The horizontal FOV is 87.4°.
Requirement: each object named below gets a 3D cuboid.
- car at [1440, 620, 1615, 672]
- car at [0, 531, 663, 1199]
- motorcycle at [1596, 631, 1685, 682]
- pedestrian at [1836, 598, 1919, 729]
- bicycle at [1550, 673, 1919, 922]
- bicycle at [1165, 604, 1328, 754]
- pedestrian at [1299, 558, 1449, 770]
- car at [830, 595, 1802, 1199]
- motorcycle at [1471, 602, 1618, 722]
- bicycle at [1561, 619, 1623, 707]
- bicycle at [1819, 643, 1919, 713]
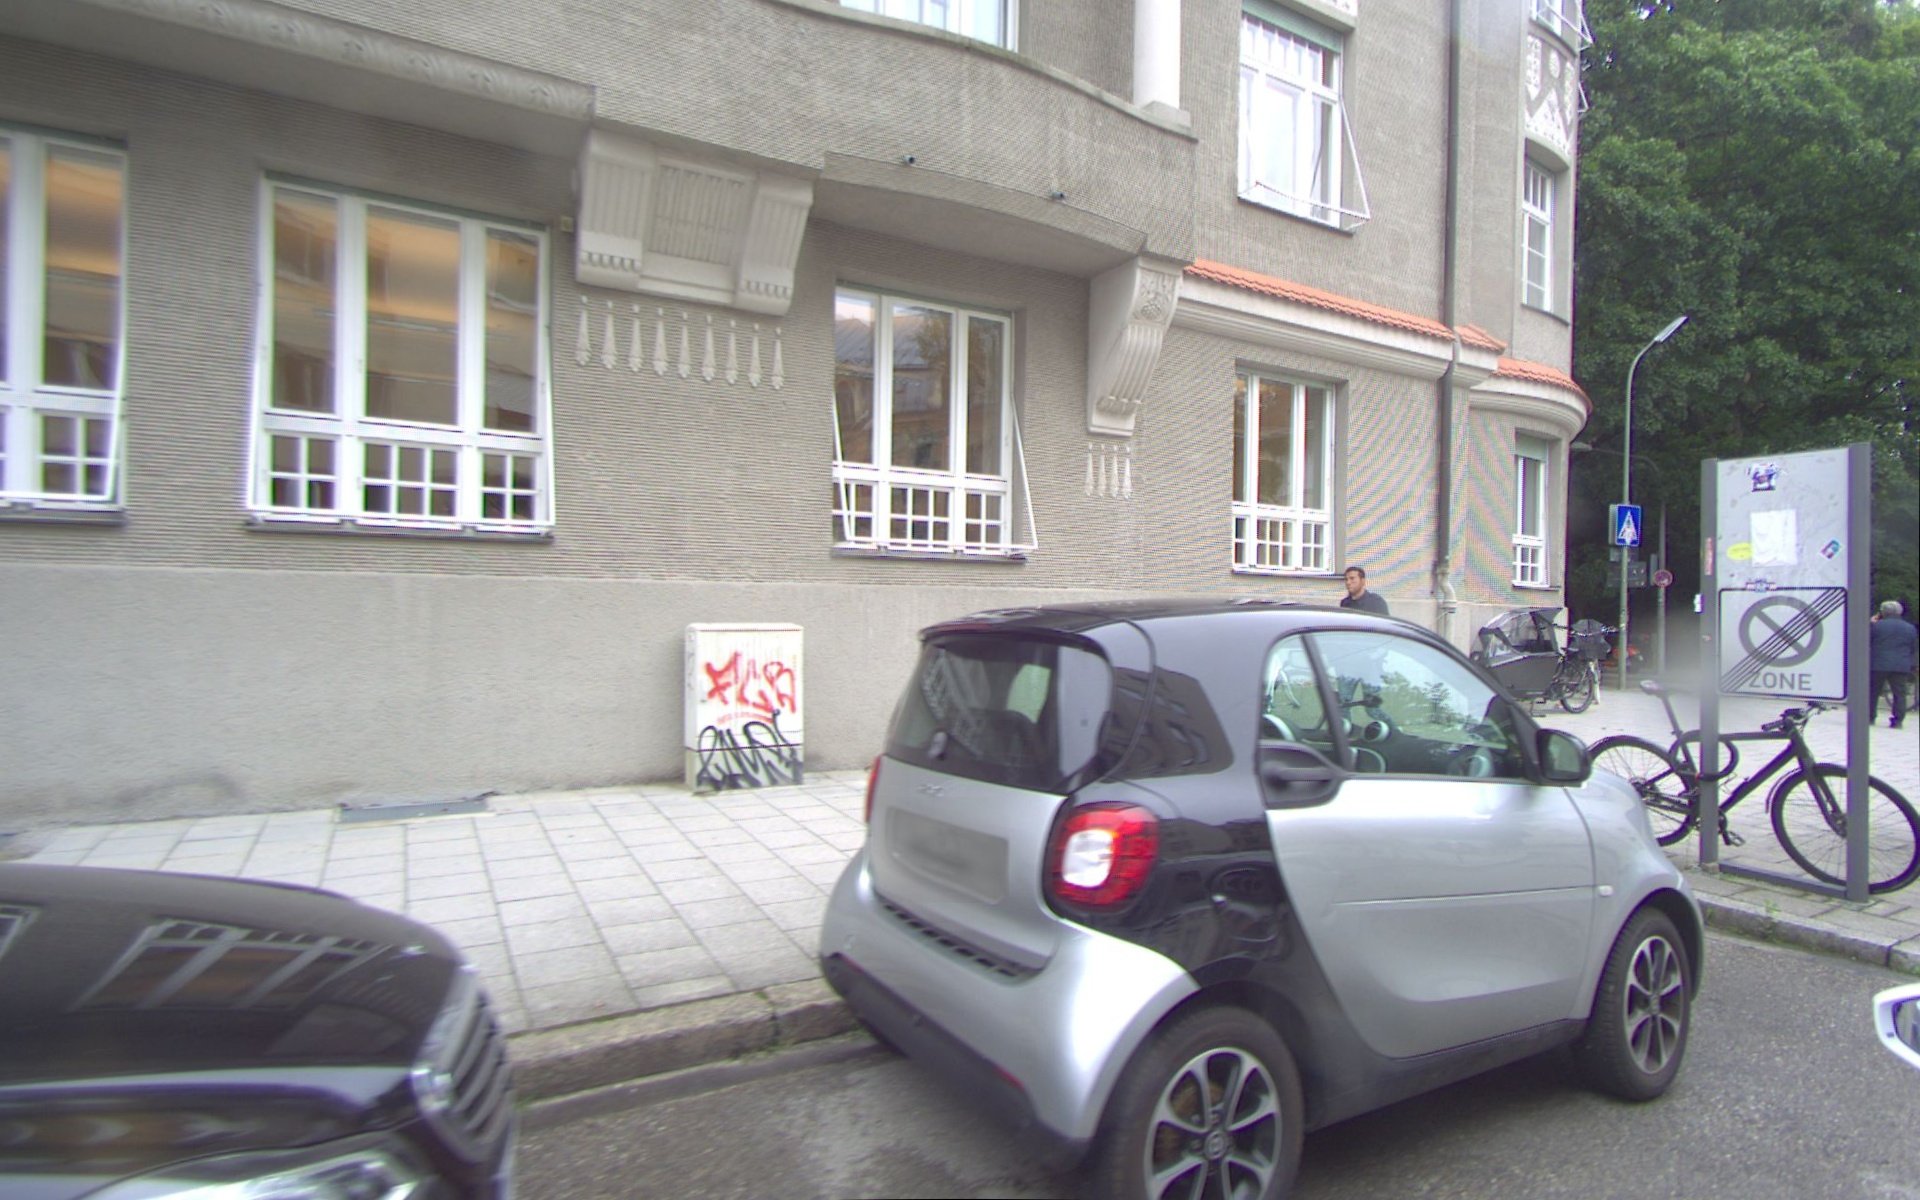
[{"bbox_3d":[17.106,1.337,30.464,1.608,1.468,4.394,1,-2,-34],"label":"car"},{"bbox_3d":[-2.832,0.672,0.953,4.648,1.535,1.748,1,0,-28],"label":"car"},{"bbox_3d":[18.036,1.472,26.683,0.843,1.199,2.004,-2,0,-5],"label":"motorcycle"},{"bbox_3d":[12.206,0.815,13.283,0.799,1.663,0.724,1,0,33],"label":"pedestrian"},{"bbox_3d":[4.407,1.013,5.685,0.534,1.028,1.793,1,1,-30],"label":"bicycle"},{"bbox_3d":[2.852,0.738,9.935,1.658,1.367,0.614,1,0,-34],"label":"bicycle"},{"bbox_3d":[3.755,0.553,9.147,0.924,1.811,0.836,1,0,-27],"label":"pedestrian"},{"bbox_3d":[1.203,0.805,3.471,2.875,1.535,1.697,1,-2,-29],"label":"car"},{"bbox_3d":[7.708,0.782,13.214,2.122,1.460,0.732,1,0,-31],"label":"motorcycle"},{"bbox_3d":[9.999,0.959,15.946,0.725,1.273,1.923,1,0,30],"label":"bicycle"},{"bbox_3d":[15.496,1.287,16.938,0.501,1.023,2.009,1,0,7],"label":"bicycle"}]
